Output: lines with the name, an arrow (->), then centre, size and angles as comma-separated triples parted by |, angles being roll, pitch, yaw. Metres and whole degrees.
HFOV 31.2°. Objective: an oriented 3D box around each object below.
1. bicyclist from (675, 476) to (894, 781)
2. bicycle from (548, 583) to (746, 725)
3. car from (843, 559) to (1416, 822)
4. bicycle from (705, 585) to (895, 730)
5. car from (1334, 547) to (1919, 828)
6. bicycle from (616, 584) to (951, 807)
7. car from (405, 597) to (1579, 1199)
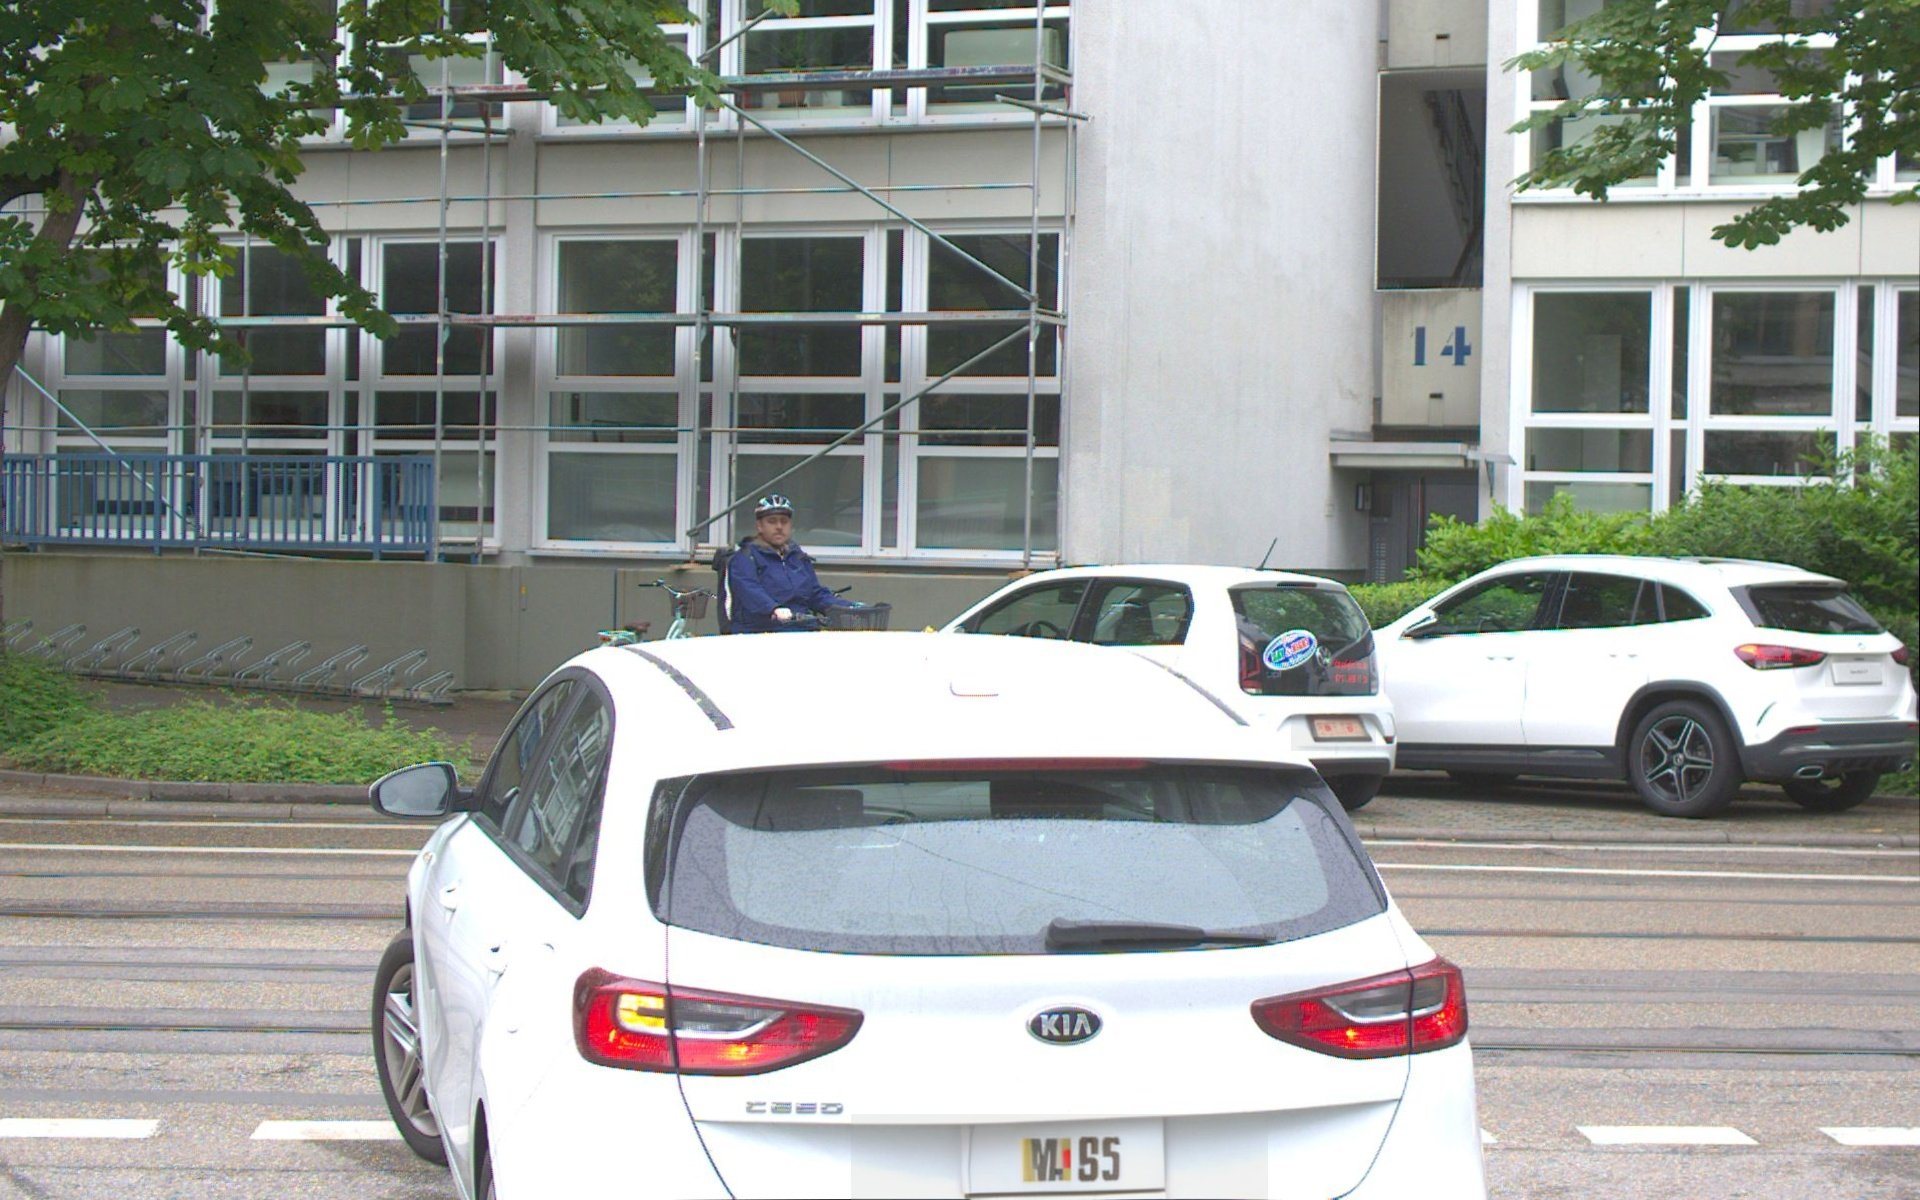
bicyclist -> -1.008, 0.150, 19.748 | 0.896, 1.692, 0.832 | 2, 1, 45
bicycle -> -2.488, 0.410, 27.628 | 0.645, 1.071, 2.309 | 2, 1, 20
car -> 0.996, 0.501, 21.357 | 1.552, 1.468, 3.406 | 0, 1, -44
bicycle -> -1.236, 0.430, 27.138 | 0.645, 1.071, 2.309 | 2, 1, 20
car -> 4.189, 0.490, 21.780 | 1.552, 1.612, 3.406 | 0, 1, -44
bicycle -> -1.036, 0.522, 19.770 | 1.914, 1.170, 0.819 | 2, 1, 44
car -> -0.241, 0.772, 7.357 | 1.775, 1.427, 3.980 | 0, 2, -10
